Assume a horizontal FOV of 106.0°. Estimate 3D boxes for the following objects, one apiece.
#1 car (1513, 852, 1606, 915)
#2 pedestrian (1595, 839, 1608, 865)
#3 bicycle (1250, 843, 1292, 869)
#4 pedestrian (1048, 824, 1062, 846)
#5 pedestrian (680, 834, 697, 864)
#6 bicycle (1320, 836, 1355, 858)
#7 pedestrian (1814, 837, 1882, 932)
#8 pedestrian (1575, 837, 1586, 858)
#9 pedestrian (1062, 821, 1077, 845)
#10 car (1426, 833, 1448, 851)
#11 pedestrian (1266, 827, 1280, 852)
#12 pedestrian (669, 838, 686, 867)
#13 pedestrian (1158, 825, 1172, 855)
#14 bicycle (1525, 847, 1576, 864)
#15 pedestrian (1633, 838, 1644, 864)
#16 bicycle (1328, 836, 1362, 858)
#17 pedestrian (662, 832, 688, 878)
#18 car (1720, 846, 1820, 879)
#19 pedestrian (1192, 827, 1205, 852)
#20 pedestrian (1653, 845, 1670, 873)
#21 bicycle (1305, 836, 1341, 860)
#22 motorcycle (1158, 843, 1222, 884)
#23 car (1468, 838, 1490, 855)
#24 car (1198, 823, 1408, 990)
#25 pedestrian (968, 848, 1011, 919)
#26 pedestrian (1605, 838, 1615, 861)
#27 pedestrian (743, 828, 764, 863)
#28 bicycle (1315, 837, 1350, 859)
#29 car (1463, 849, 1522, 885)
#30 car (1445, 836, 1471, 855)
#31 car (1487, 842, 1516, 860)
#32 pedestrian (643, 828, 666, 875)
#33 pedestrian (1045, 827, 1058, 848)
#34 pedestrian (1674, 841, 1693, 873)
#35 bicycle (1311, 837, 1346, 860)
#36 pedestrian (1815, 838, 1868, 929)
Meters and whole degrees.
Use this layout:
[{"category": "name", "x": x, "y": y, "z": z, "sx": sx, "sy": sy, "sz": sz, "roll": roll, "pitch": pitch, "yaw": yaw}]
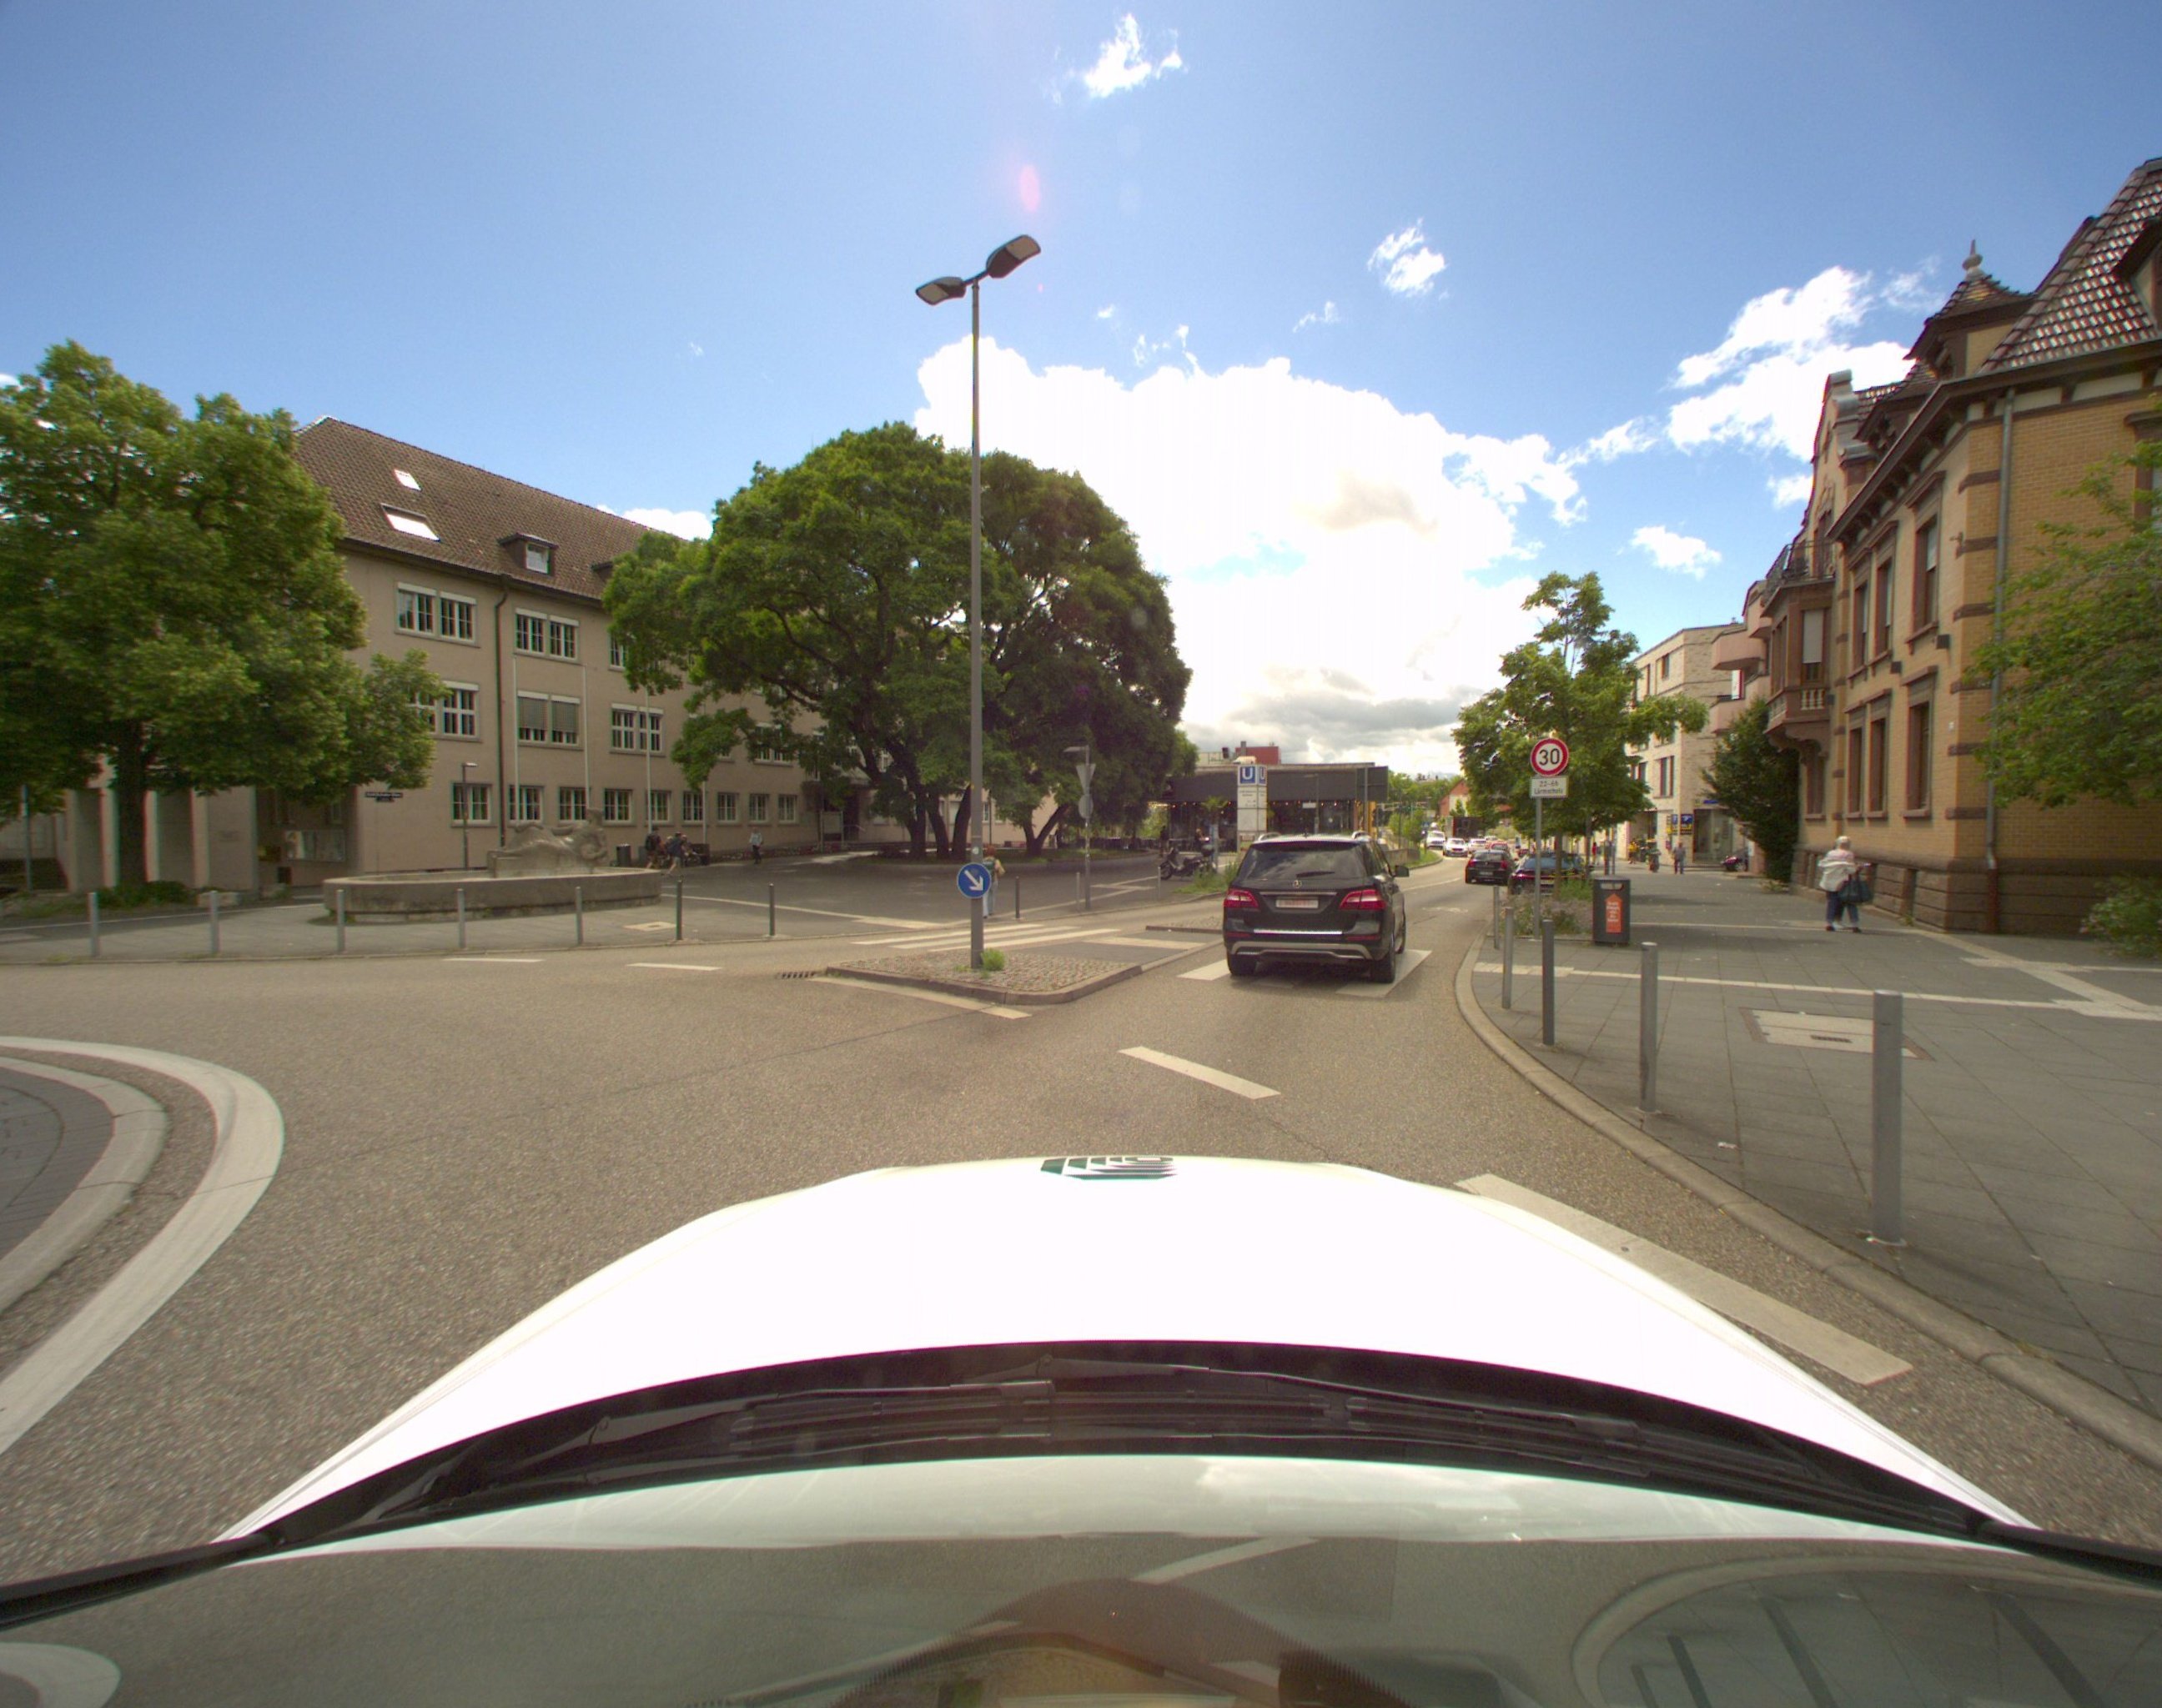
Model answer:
[{"category": "car", "x": 12.282, "y": 0.661, "z": 20.773, "sx": 1.838, "sy": 1.406, "sz": 4.402, "roll": -1, "pitch": 0, "yaw": 33}, {"category": "pedestrian", "x": 34.786, "y": -0.151, "z": 54.425, "sx": 0.656, "sy": 1.682, "sz": 0.571, "roll": 0, "pitch": 1, "yaw": 27}, {"category": "bicycle", "x": 7.609, "y": 0.064, "z": 32.648, "sx": 1.596, "sy": 0.997, "sz": 0.503, "roll": 1, "pitch": 1, "yaw": 38}, {"category": "pedestrian", "x": -1.844, "y": -1.368, "z": 58.643, "sx": 0.778, "sy": 1.577, "sz": 0.641, "roll": 0, "pitch": 1, "yaw": 31}, {"category": "pedestrian", "x": -16.450, "y": -0.203, "z": 34.139, "sx": 0.486, "sy": 1.222, "sz": 0.578, "roll": 0, "pitch": 0, "yaw": -11}, {"category": "bicycle", "x": 12.783, "y": -0.343, "z": 40.578, "sx": 1.553, "sy": 1.091, "sz": 0.582, "roll": 1, "pitch": 1, "yaw": 32}, {"category": "pedestrian", "x": 13.500, "y": 0.530, "z": 14.356, "sx": 0.550, "sy": 1.629, "sz": 0.678, "roll": -1, "pitch": 0, "yaw": 4}, {"category": "pedestrian", "x": 39.514, "y": -0.541, "z": 64.442, "sx": 0.555, "sy": 1.682, "sz": 0.570, "roll": 0, "pitch": 1, "yaw": 10}, {"category": "pedestrian", "x": -0.805, "y": -1.440, "z": 56.750, "sx": 0.778, "sy": 1.627, "sz": 0.641, "roll": 0, "pitch": 1, "yaw": 31}, {"category": "car", "x": 39.424, "y": -1.401, "z": 90.162, "sx": 1.825, "sy": 1.857, "sz": 4.520, "roll": 3, "pitch": 2, "yaw": 20}, {"category": "pedestrian", "x": 11.341, "y": -0.853, "z": 48.174, "sx": 0.575, "sy": 1.463, "sz": 0.620, "roll": 0, "pitch": 1, "yaw": 40}, {"category": "pedestrian", "x": -16.483, "y": -0.074, "z": 33.279, "sx": 0.486, "sy": 1.182, "sz": 0.578, "roll": 0, "pitch": 0, "yaw": -11}, {"category": "pedestrian", "x": 4.431, "y": -0.735, "z": 42.868, "sx": 0.609, "sy": 1.577, "sz": 0.585, "roll": 0, "pitch": 1, "yaw": 16}, {"category": "bicycle", "x": 32.594, "y": 0.118, "z": 56.607, "sx": 3.031, "sy": 1.146, "sz": 0.714, "roll": 0, "pitch": 1, "yaw": 27}, {"category": "pedestrian", "x": 37.787, "y": -0.205, "z": 55.187, "sx": 0.553, "sy": 1.691, "sz": 0.643, "roll": 0, "pitch": 1, "yaw": 29}, {"category": "bicycle", "x": 13.374, "y": -0.374, "z": 41.314, "sx": 1.553, "sy": 1.091, "sz": 0.582, "roll": 1, "pitch": 1, "yaw": 32}, {"category": "pedestrian", "x": -13.971, "y": 0.033, "z": 28.029, "sx": 0.642, "sy": 1.523, "sz": 0.570, "roll": 0, "pitch": 4, "yaw": -44}, {"category": "car", "x": 38.105, "y": 0.436, "z": 45.174, "sx": 3.950, "sy": 1.565, "sz": 1.858, "roll": 3, "pitch": 2, "yaw": 30}, {"category": "pedestrian", "x": 6.762, "y": -0.830, "z": 46.896, "sx": 0.576, "sy": 1.379, "sz": 0.619, "roll": 0, "pitch": 1, "yaw": 20}, {"category": "pedestrian", "x": 32.900, "y": 0.263, "z": 46.150, "sx": 0.704, "sy": 1.563, "sz": 0.571, "roll": 0, "pitch": 1, "yaw": 27}, {"category": "bicycle", "x": 11.415, "y": -0.284, "z": 38.460, "sx": 1.553, "sy": 1.091, "sz": 0.582, "roll": 1, "pitch": 1, "yaw": 32}, {"category": "motorcycle", "x": 3.718, "y": 0.312, "z": 27.879, "sx": 2.112, "sy": 1.289, "sz": 0.587, "roll": 2, "pitch": 4, "yaw": 34}, {"category": "car", "x": 38.613, "y": -0.775, "z": 79.019, "sx": 1.824, "sy": 1.524, "sz": 4.024, "roll": 3, "pitch": 2, "yaw": 26}, {"category": "car", "x": 3.169, "y": 0.530, "z": 10.858, "sx": 2.009, "sy": 1.727, "sz": 4.458, "roll": -1, "pitch": 0, "yaw": 24}, {"category": "pedestrian", "x": -2.047, "y": 0.642, "z": 18.256, "sx": 0.545, "sy": 1.513, "sz": 0.793, "roll": 2, "pitch": 4, "yaw": 35}, {"category": "pedestrian", "x": 39.290, "y": -0.364, "z": 60.492, "sx": 0.553, "sy": 1.682, "sz": 0.572, "roll": 0, "pitch": 1, "yaw": 29}, {"category": "pedestrian", "x": -14.024, "y": -0.347, "z": 34.916, "sx": 0.699, "sy": 1.492, "sz": 0.811, "roll": 0, "pitch": 0, "yaw": -13}, {"category": "bicycle", "x": 12.278, "y": -0.300, "z": 39.769, "sx": 1.553, "sy": 1.091, "sz": 0.582, "roll": 1, "pitch": 1, "yaw": 32}, {"category": "car", "x": 17.248, "y": 0.515, "z": 34.054, "sx": 1.593, "sy": 1.383, "sz": 3.861, "roll": 0, "pitch": 1, "yaw": 36}, {"category": "car", "x": 33.190, "y": -0.766, "z": 71.752, "sx": 1.825, "sy": 1.607, "sz": 4.022, "roll": 3, "pitch": 2, "yaw": 23}, {"category": "car", "x": 33.521, "y": -0.221, "z": 64.991, "sx": 1.595, "sy": 1.383, "sz": 3.856, "roll": 0, "pitch": 1, "yaw": 20}, {"category": "pedestrian", "x": -14.878, "y": -0.089, "z": 28.392, "sx": 0.577, "sy": 1.608, "sz": 0.432, "roll": 0, "pitch": 4, "yaw": -44}, {"category": "pedestrian", "x": -2.189, "y": -1.203, "z": 60.724, "sx": 0.628, "sy": 1.577, "sz": 0.793, "roll": 0, "pitch": 1, "yaw": 32}, {"category": "pedestrian", "x": 30.339, "y": 0.135, "z": 41.003, "sx": 0.625, "sy": 1.626, "sz": 0.704, "roll": 0, "pitch": 1, "yaw": 25}, {"category": "bicycle", "x": 11.874, "y": -0.264, "z": 39.087, "sx": 1.553, "sy": 1.069, "sz": 0.542, "roll": 1, "pitch": 1, "yaw": 32}, {"category": "pedestrian", "x": 13.915, "y": 0.531, "z": 14.908, "sx": 0.501, "sy": 1.629, "sz": 0.512, "roll": -1, "pitch": 0, "yaw": 12}]
